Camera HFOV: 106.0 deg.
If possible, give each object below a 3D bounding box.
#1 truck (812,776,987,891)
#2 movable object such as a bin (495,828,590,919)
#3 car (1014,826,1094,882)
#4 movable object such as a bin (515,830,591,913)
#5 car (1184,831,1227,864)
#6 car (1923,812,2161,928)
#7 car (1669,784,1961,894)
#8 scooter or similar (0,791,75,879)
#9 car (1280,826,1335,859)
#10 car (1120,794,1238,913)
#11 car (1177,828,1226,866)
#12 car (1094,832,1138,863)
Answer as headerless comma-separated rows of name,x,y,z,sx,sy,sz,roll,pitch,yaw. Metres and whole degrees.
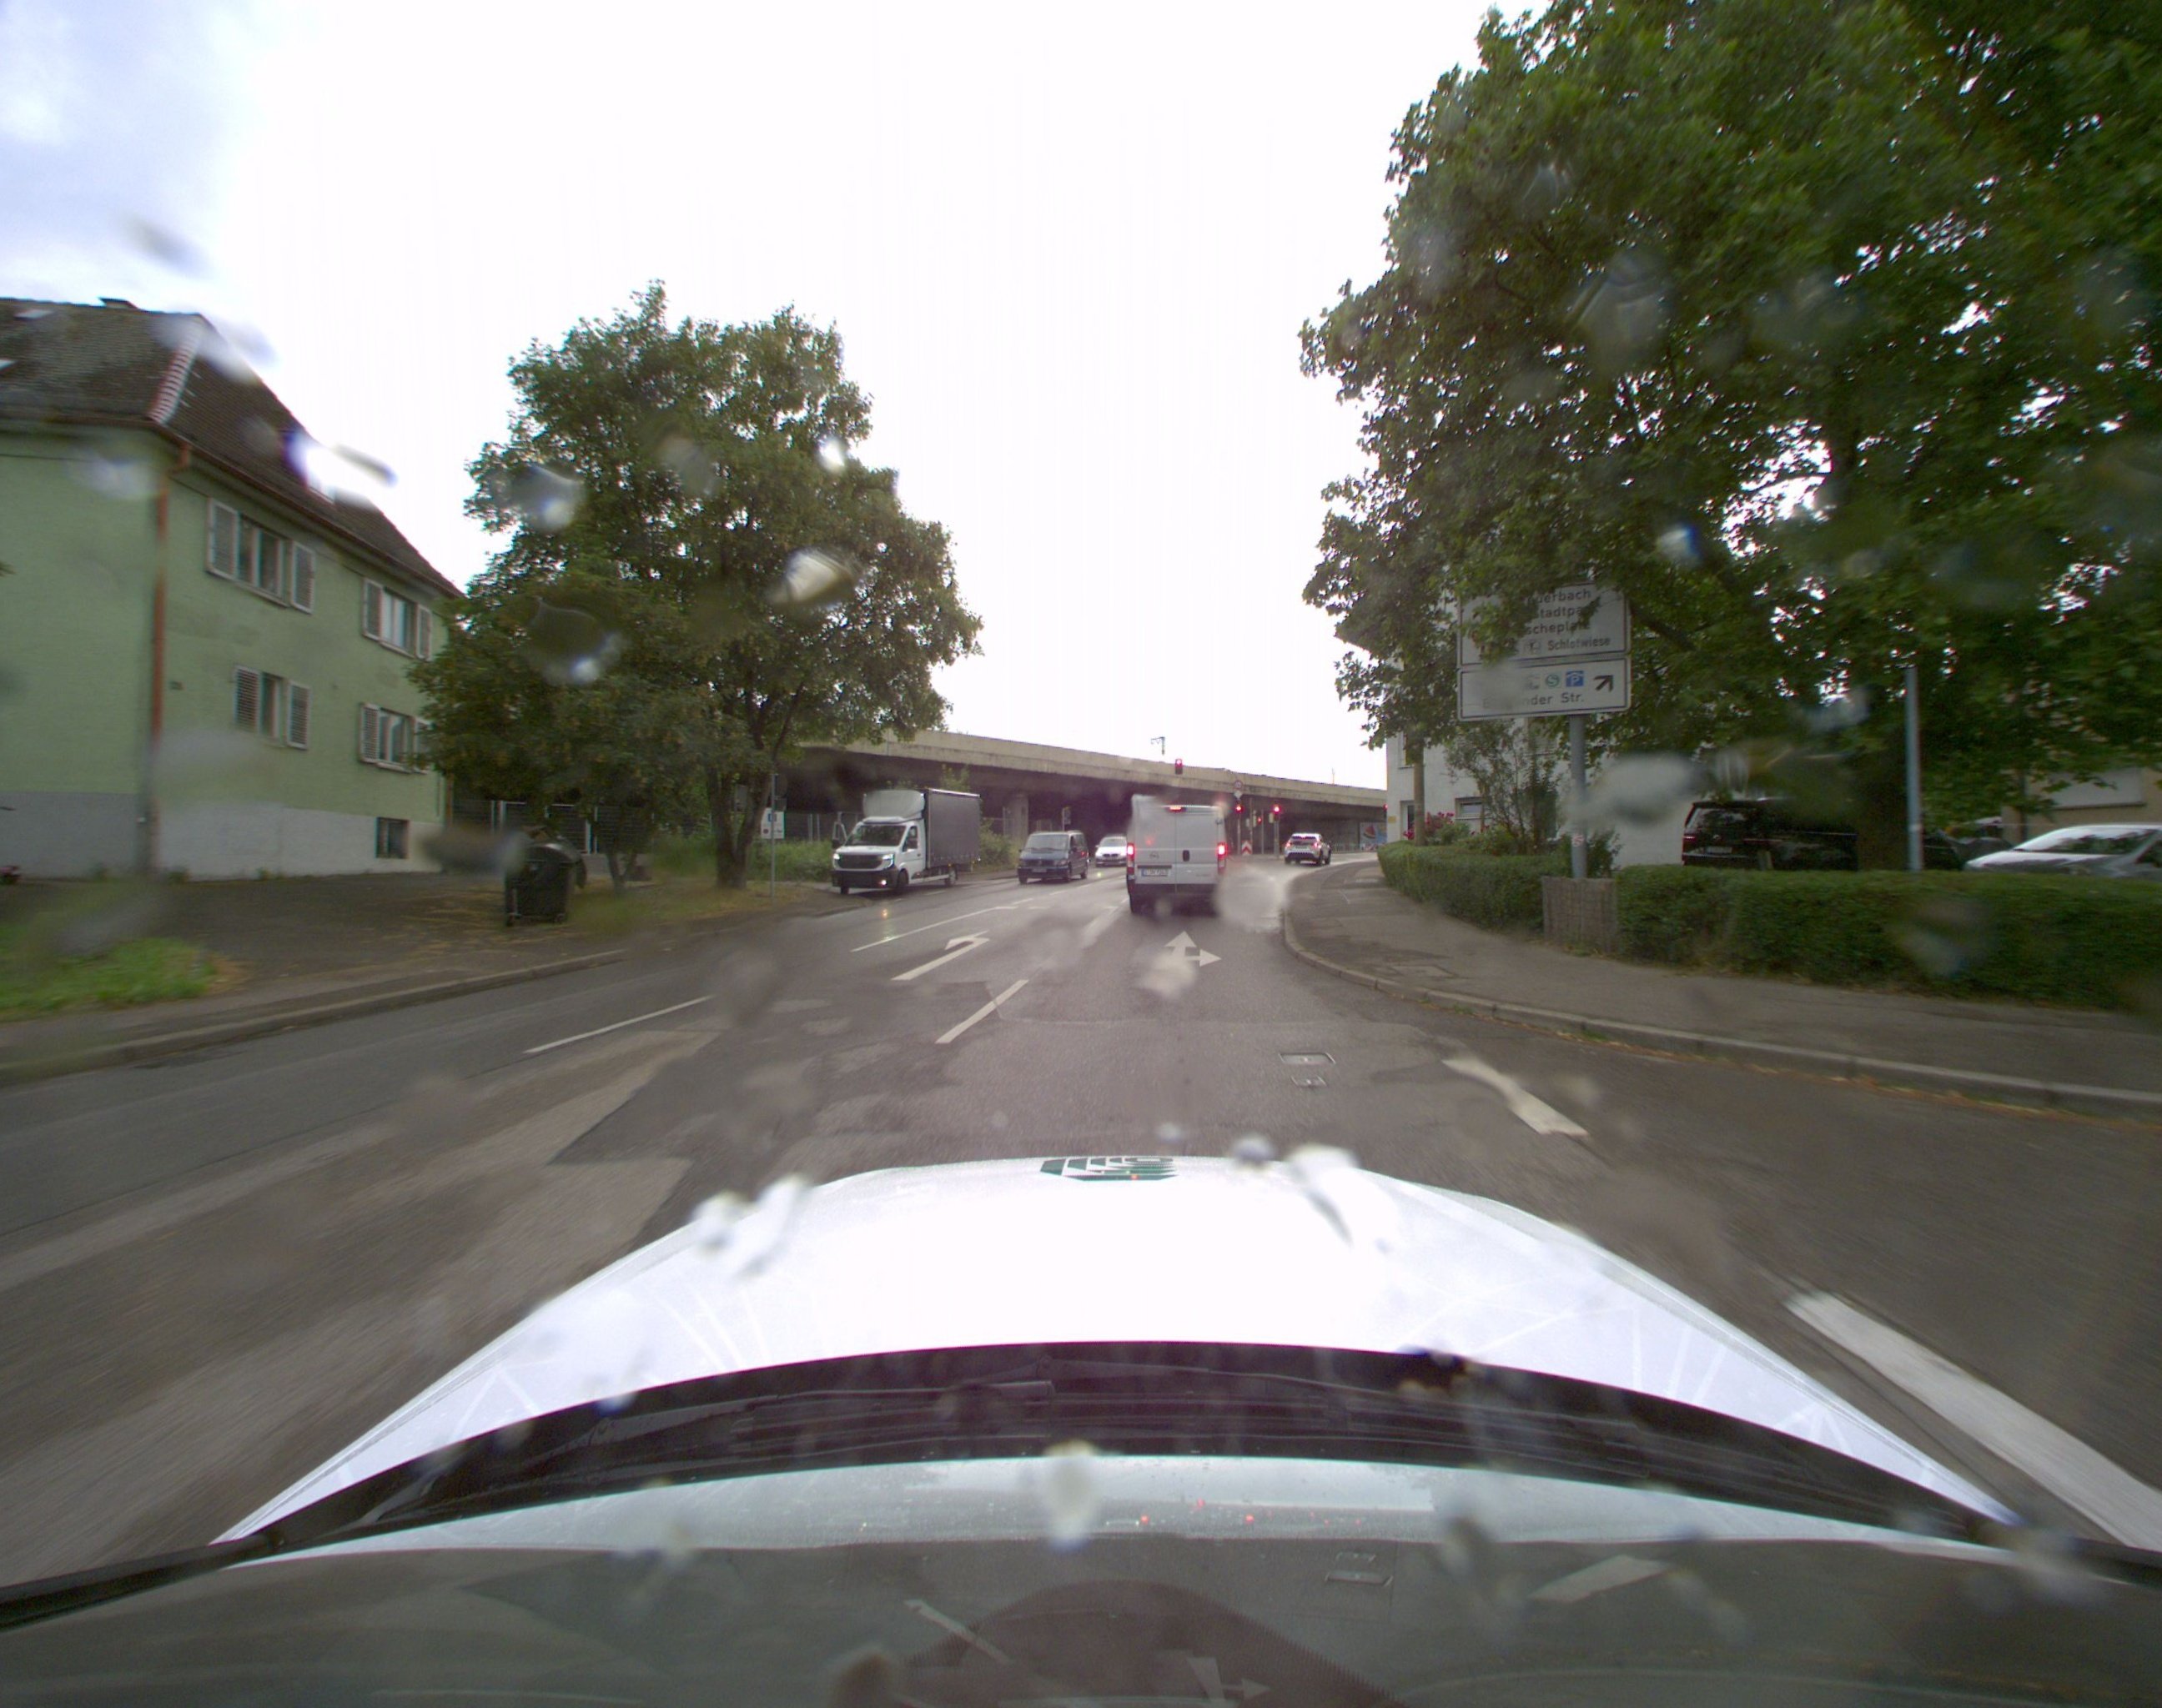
truck,-5.629,-0.639,26.962,2.593,3.236,7.802,0,1,12
movable object such as a bin,-9.740,0.327,14.711,1.300,1.437,1.447,3,4,-37
car,-0.921,-0.041,30.818,1.945,1.931,4.698,-1,1,11
movable object such as a bin,-10.399,0.320,16.021,1.105,1.437,1.447,3,4,-37
car,6.906,-0.365,44.827,1.980,1.728,4.014,0,0,13
car,15.534,0.178,12.328,3.981,1.580,1.819,-1,1,-5
car,14.154,-0.314,15.808,4.402,1.932,1.993,-1,1,-11
scooter or similar,-16.260,-0.309,12.292,1.513,1.273,0.531,3,0,4
car,11.346,-0.565,40.621,1.975,1.549,4.023,0,0,25
car,2.332,-0.065,18.778,2.292,2.343,5.295,0,1,8
car,5.856,-0.330,39.084,1.980,1.728,4.014,0,0,13
car,2.010,-0.420,45.000,1.819,1.578,4.348,0,2,11
